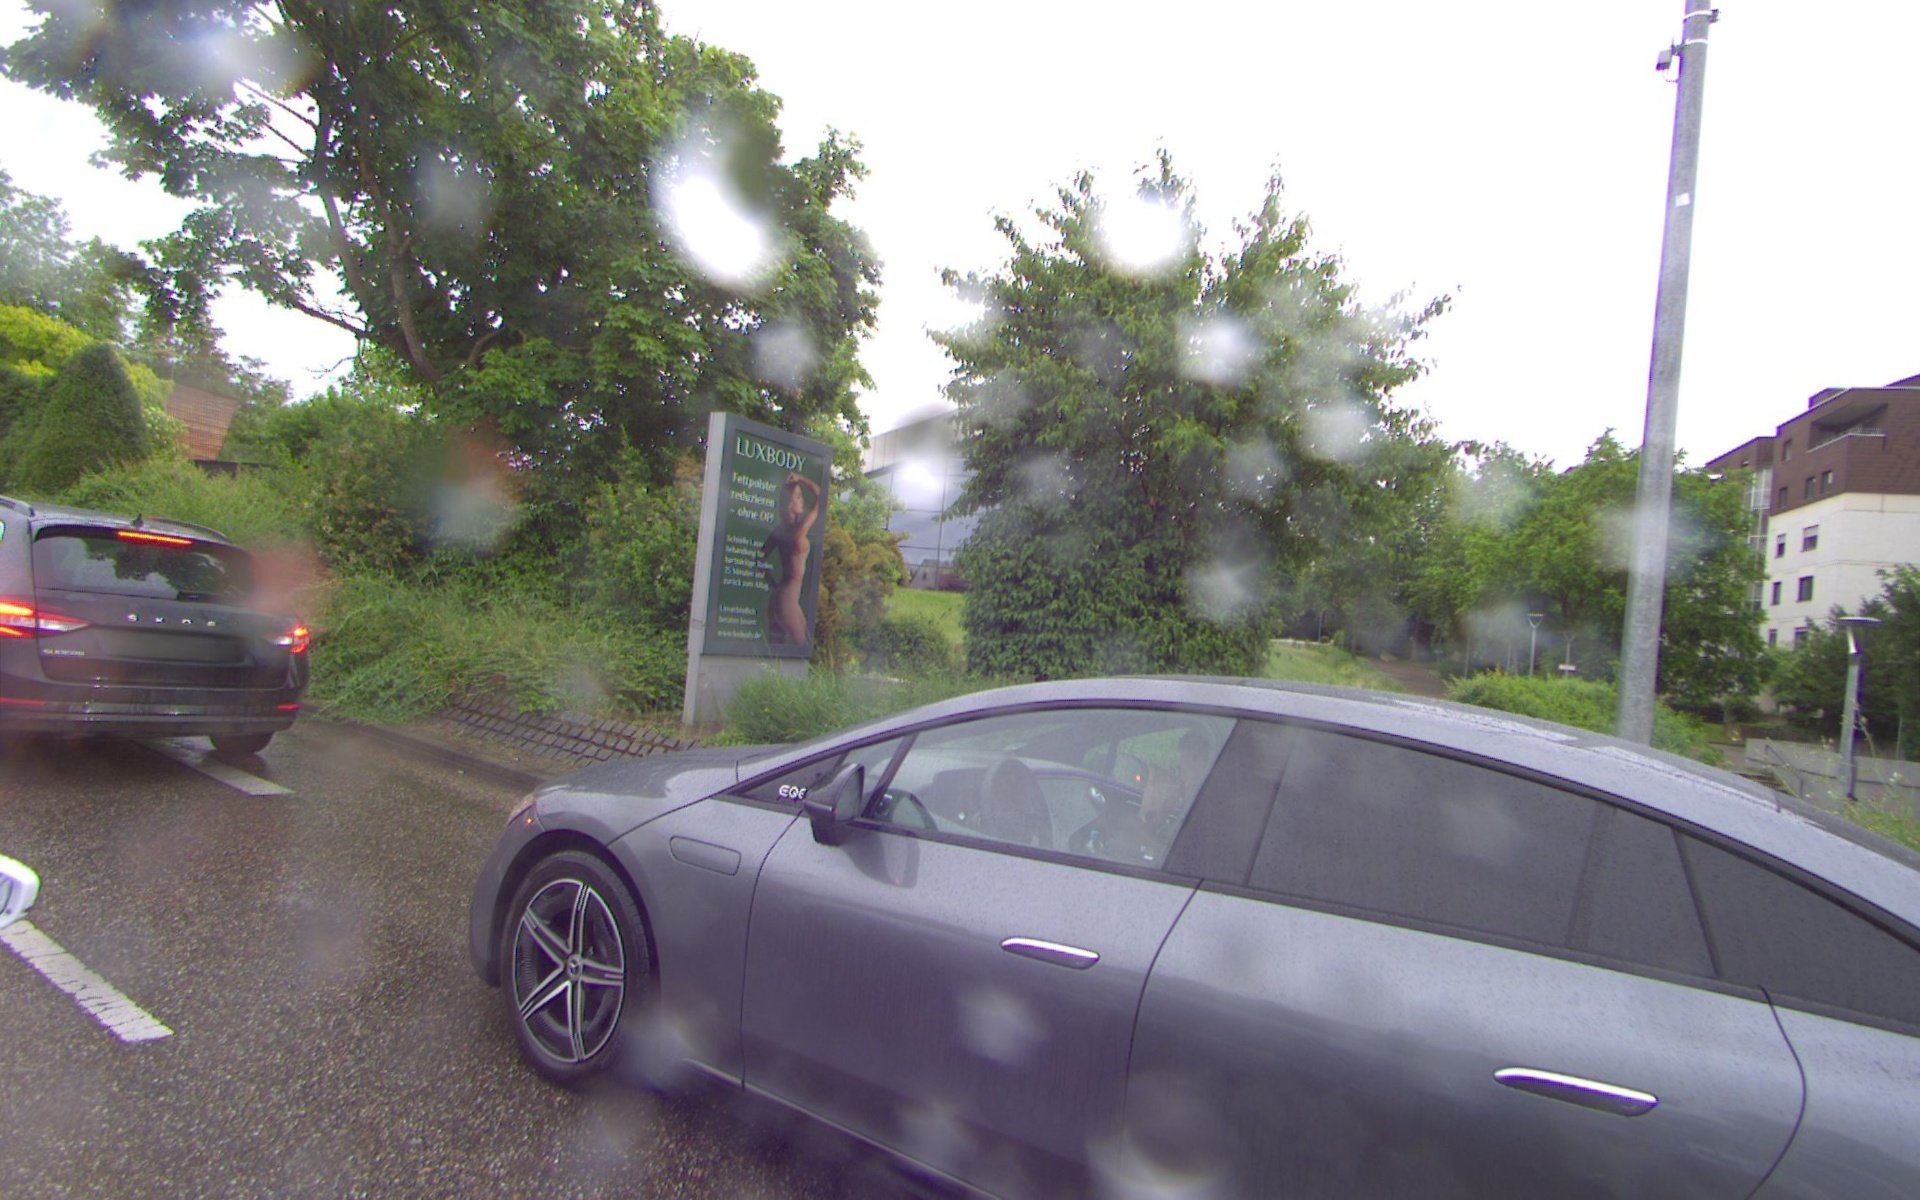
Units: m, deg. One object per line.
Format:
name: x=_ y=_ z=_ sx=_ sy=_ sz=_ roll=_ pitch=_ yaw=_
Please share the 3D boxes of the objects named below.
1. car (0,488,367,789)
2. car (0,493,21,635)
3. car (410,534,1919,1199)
car: x=-6.114 y=0.063 z=6.759 sx=4.279 sy=1.483 sz=1.841 roll=7 pitch=-2 yaw=33
car: x=-12.189 y=-0.680 z=10.871 sx=4.048 sy=1.483 sz=1.842 roll=7 pitch=-2 yaw=31
car: x=0.754 y=0.868 z=2.885 sx=4.728 sy=1.483 sz=1.842 roll=7 pitch=-2 yaw=31
